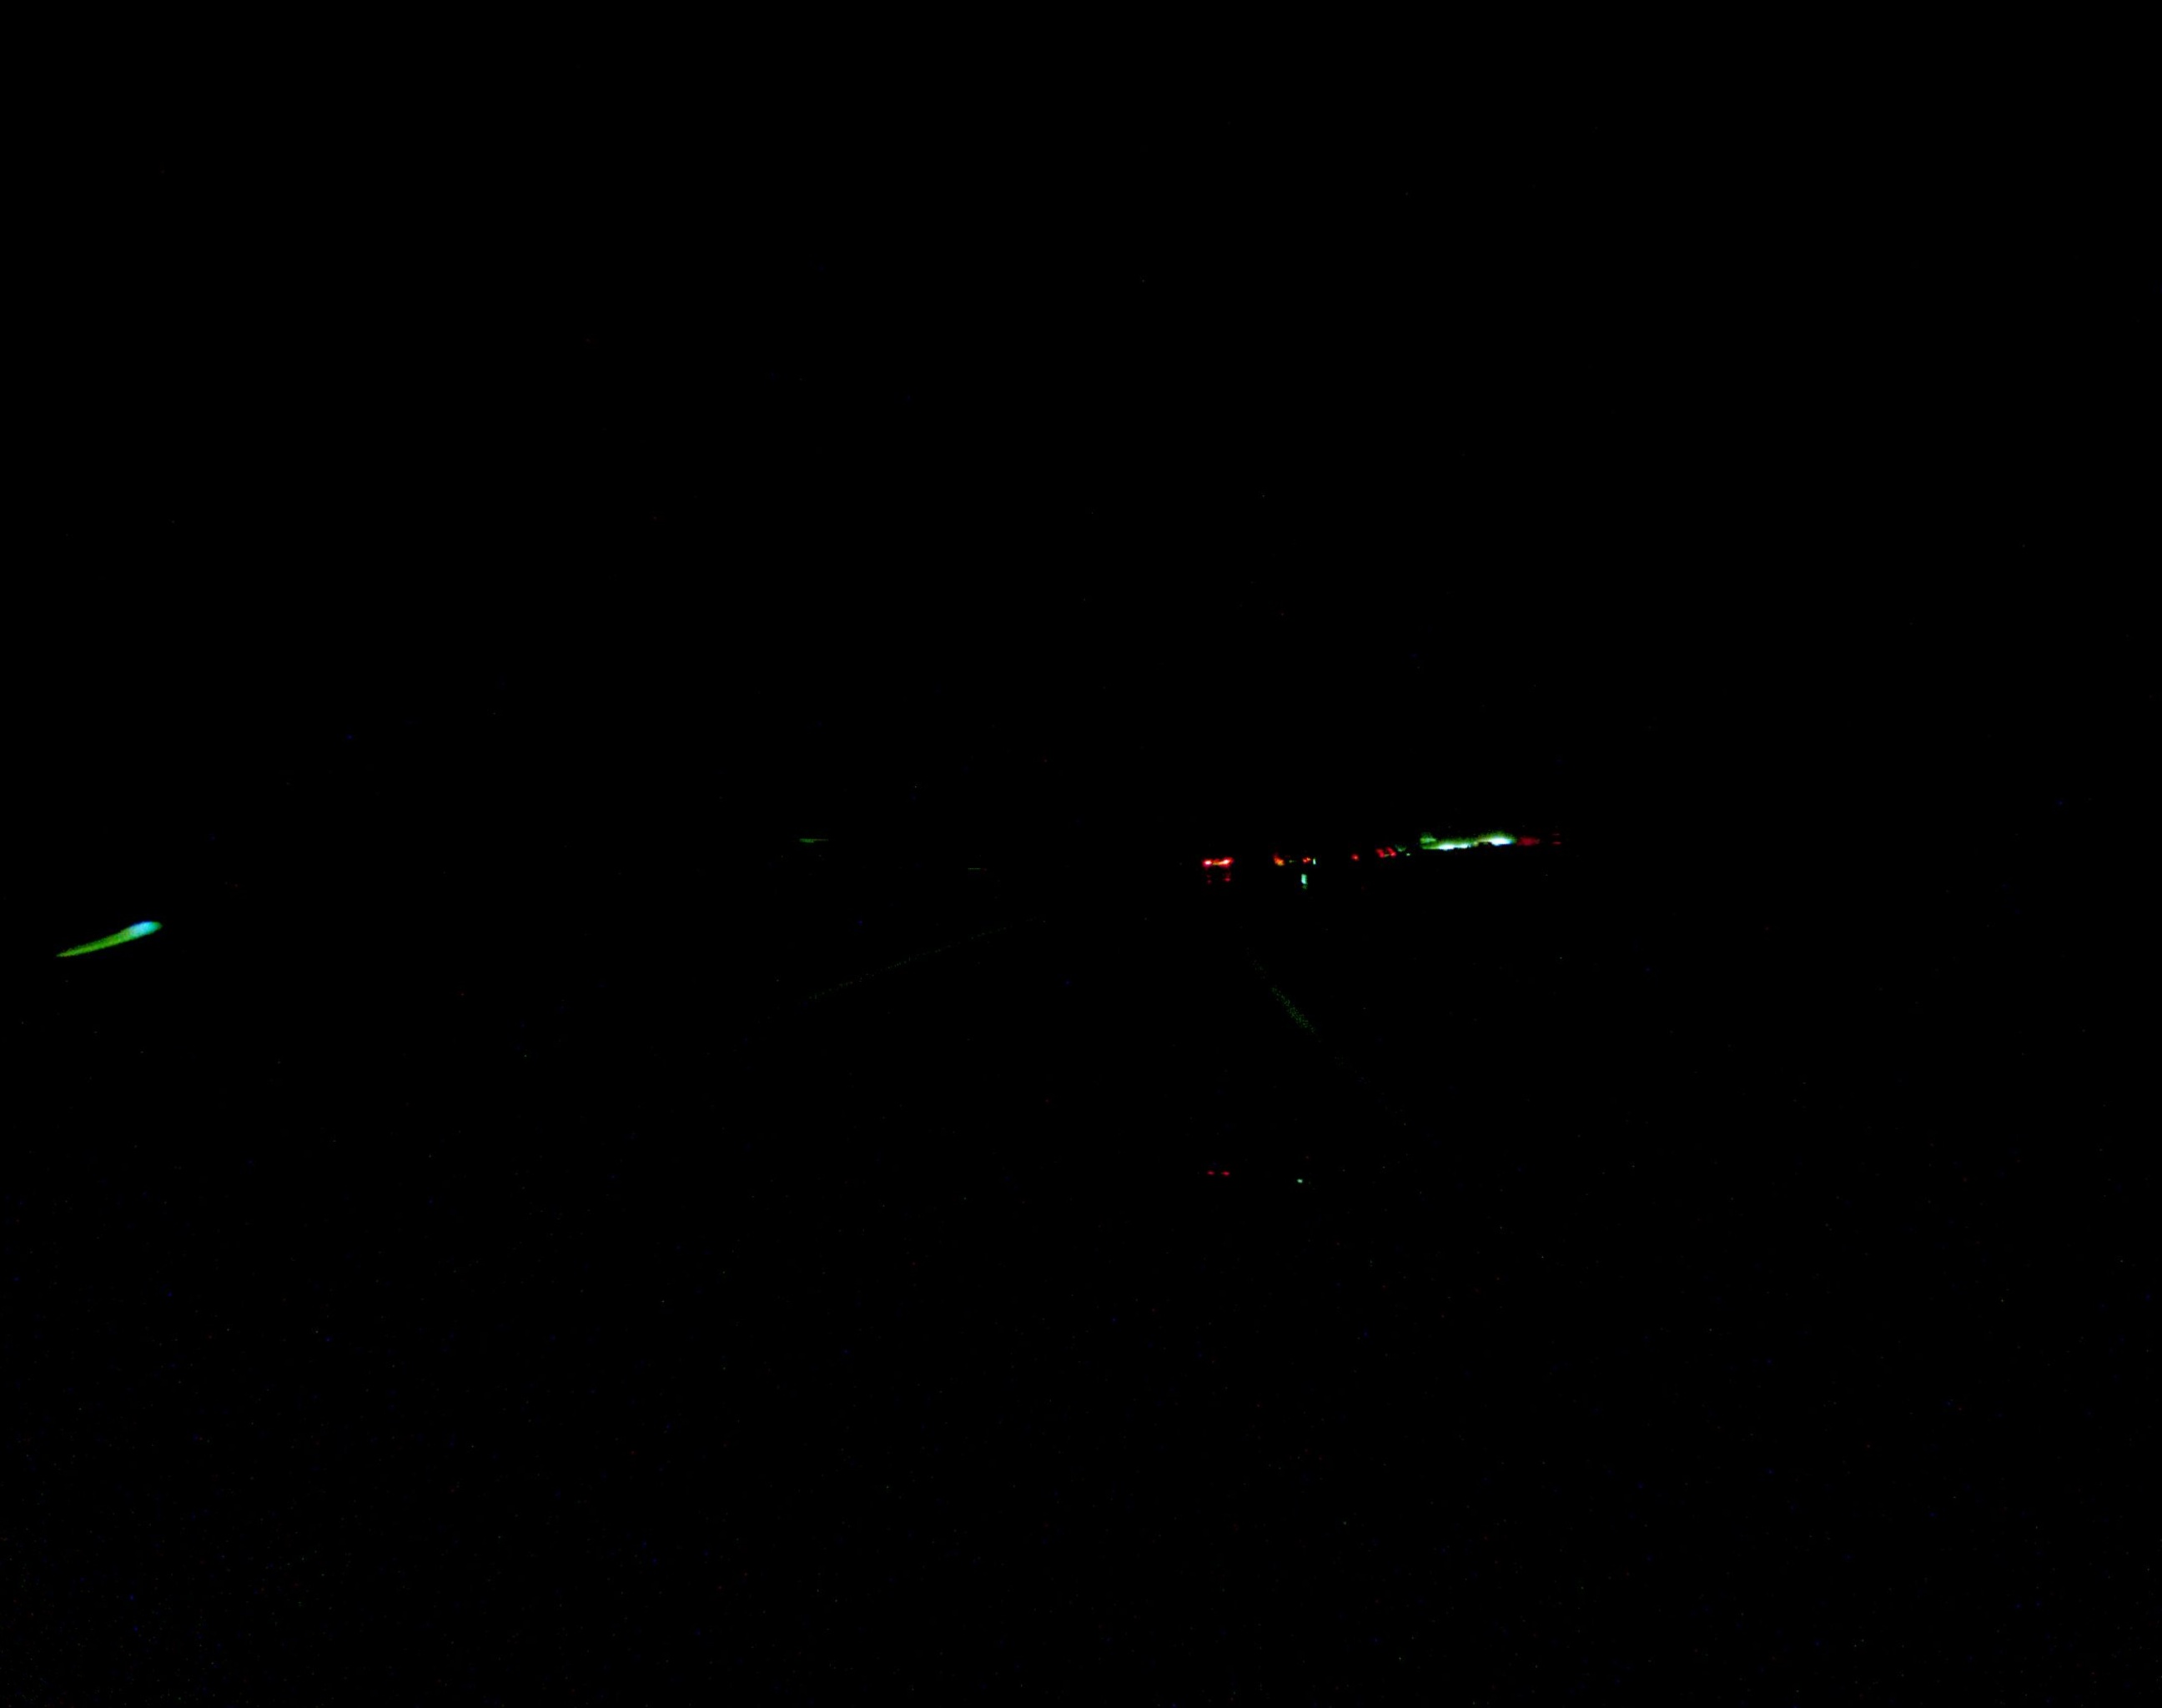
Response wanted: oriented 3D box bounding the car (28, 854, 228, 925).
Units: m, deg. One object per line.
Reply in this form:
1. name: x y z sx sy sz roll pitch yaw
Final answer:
1. car: -30.066 1.024 25.863 1.975 2.013 4.025 0 1 41

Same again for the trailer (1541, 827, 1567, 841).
1. trailer: 96.312 -3.975 165.758 2.661 2.699 12.939 0 1 39

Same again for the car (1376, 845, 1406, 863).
1. car: 35.825 -0.011 94.034 1.974 2.013 4.025 0 1 40

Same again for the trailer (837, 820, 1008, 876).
1. trailer: -11.296 -0.492 60.470 2.627 3.730 14.031 0 1 39

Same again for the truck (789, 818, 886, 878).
1. truck: -16.195 -0.416 54.440 2.627 3.730 5.740 0 1 39

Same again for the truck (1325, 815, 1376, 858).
1. truck: 24.189 -1.515 72.914 2.563 3.711 5.493 1 1 38

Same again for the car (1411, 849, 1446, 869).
1. car: 32.980 0.405 77.243 1.974 1.818 4.025 0 1 39

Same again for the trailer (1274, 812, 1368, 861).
1. trailer: 20.274 -1.440 67.970 2.567 3.725 13.739 1 1 38

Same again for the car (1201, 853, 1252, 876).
1. car: 10.927 0.794 61.116 1.975 1.618 4.025 0 1 42

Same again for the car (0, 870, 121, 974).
1. car: -23.117 1.416 16.576 1.974 2.013 4.596 0 1 39
